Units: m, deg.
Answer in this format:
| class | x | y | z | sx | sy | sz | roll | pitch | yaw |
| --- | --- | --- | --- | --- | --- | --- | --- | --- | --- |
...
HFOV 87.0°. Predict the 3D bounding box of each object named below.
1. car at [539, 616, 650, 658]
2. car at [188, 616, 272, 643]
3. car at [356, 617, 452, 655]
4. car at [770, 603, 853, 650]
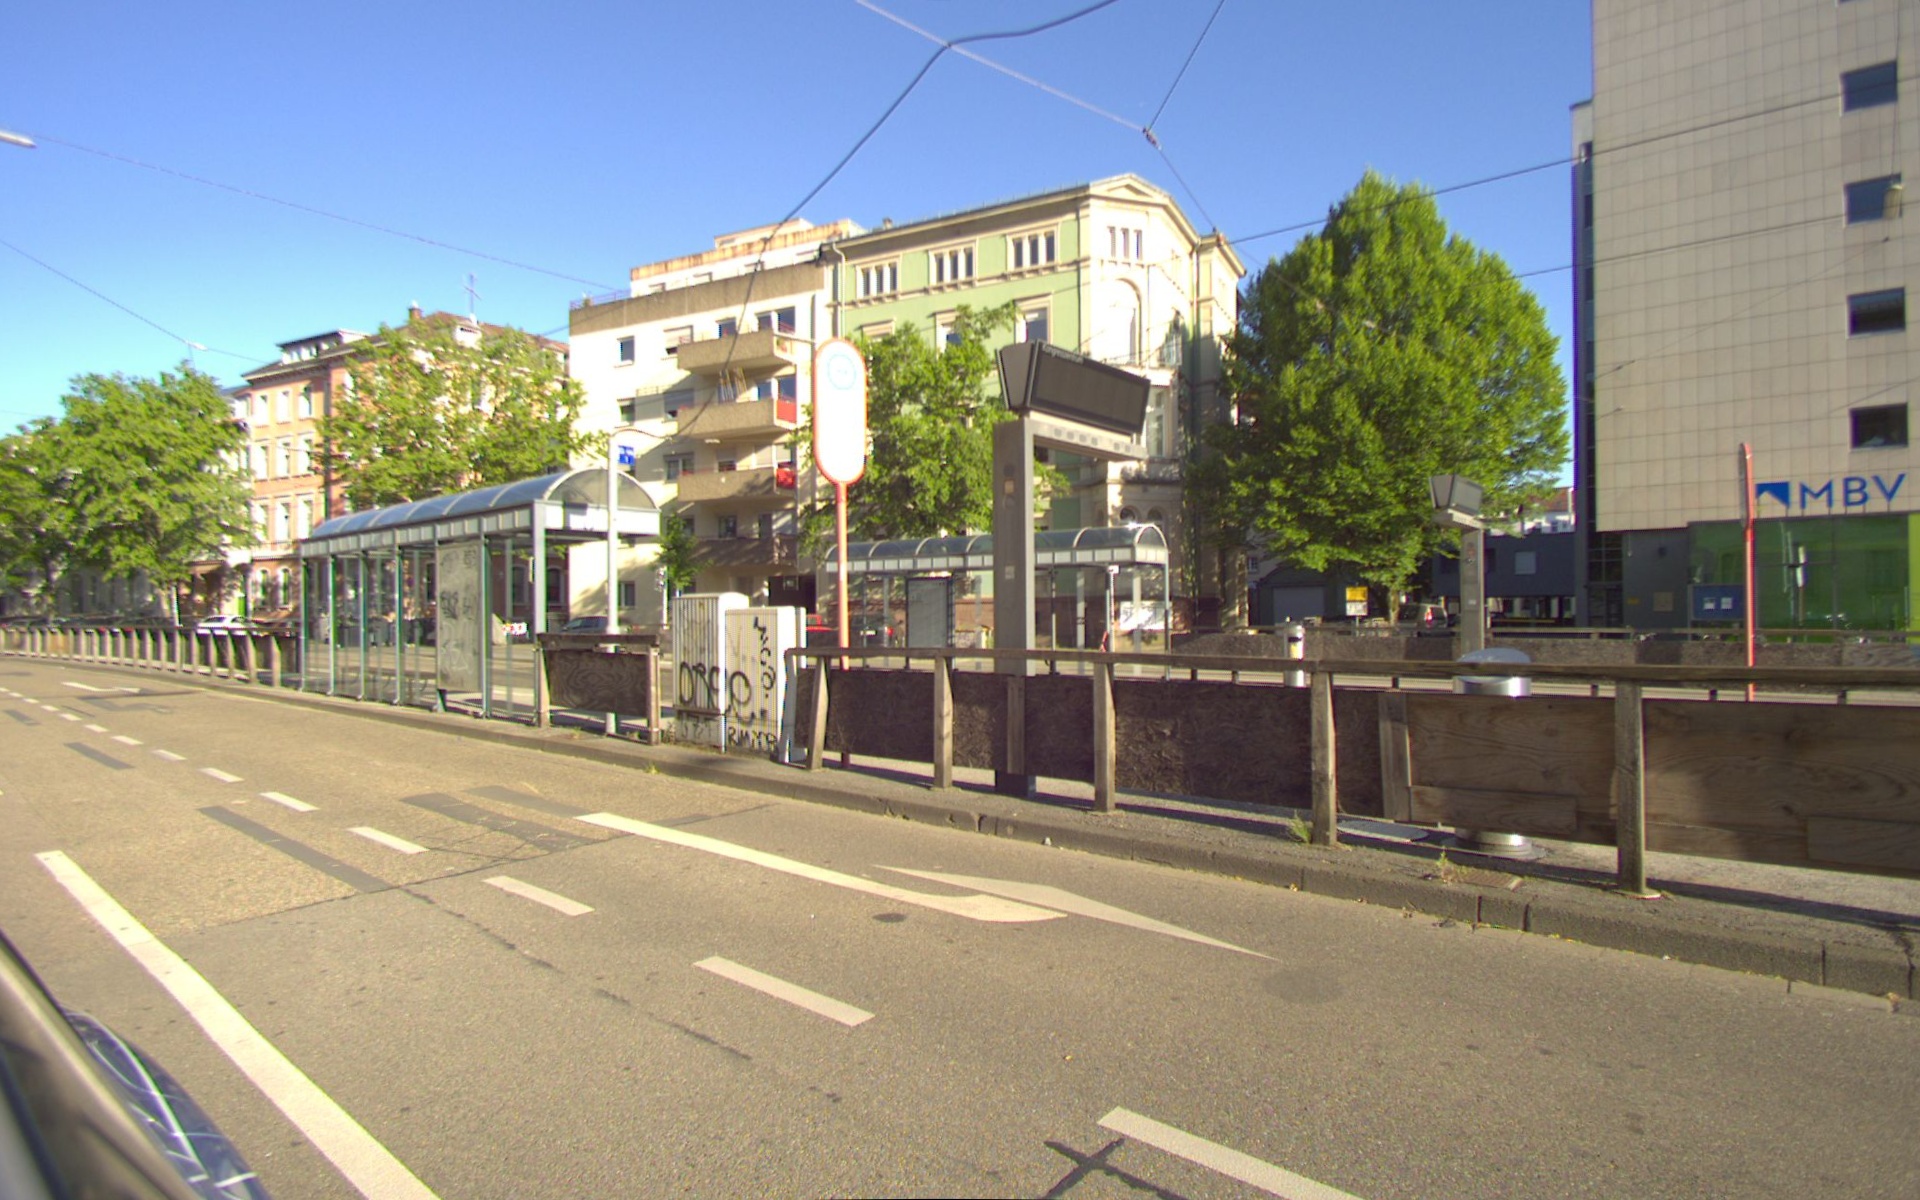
| class | x | y | z | sx | sy | sz | roll | pitch | yaw |
| --- | --- | --- | --- | --- | --- | --- | --- | --- | --- |
| car | -13.994 | 1.388 | 38.708 | 3.987 | 1.541 | 1.978 | -1 | -2 | 32 |
| car | -39.096 | 1.572 | 54.296 | 1.565 | 1.360 | 3.631 | 0 | -1 | 11 |
| car | -23.963 | 1.540 | 43.615 | 3.987 | 1.541 | 1.978 | -1 | -2 | 32 |
| car | -6.667 | 1.203 | 45.773 | 1.791 | 2.029 | 3.963 | -1 | -1 | 27 |
